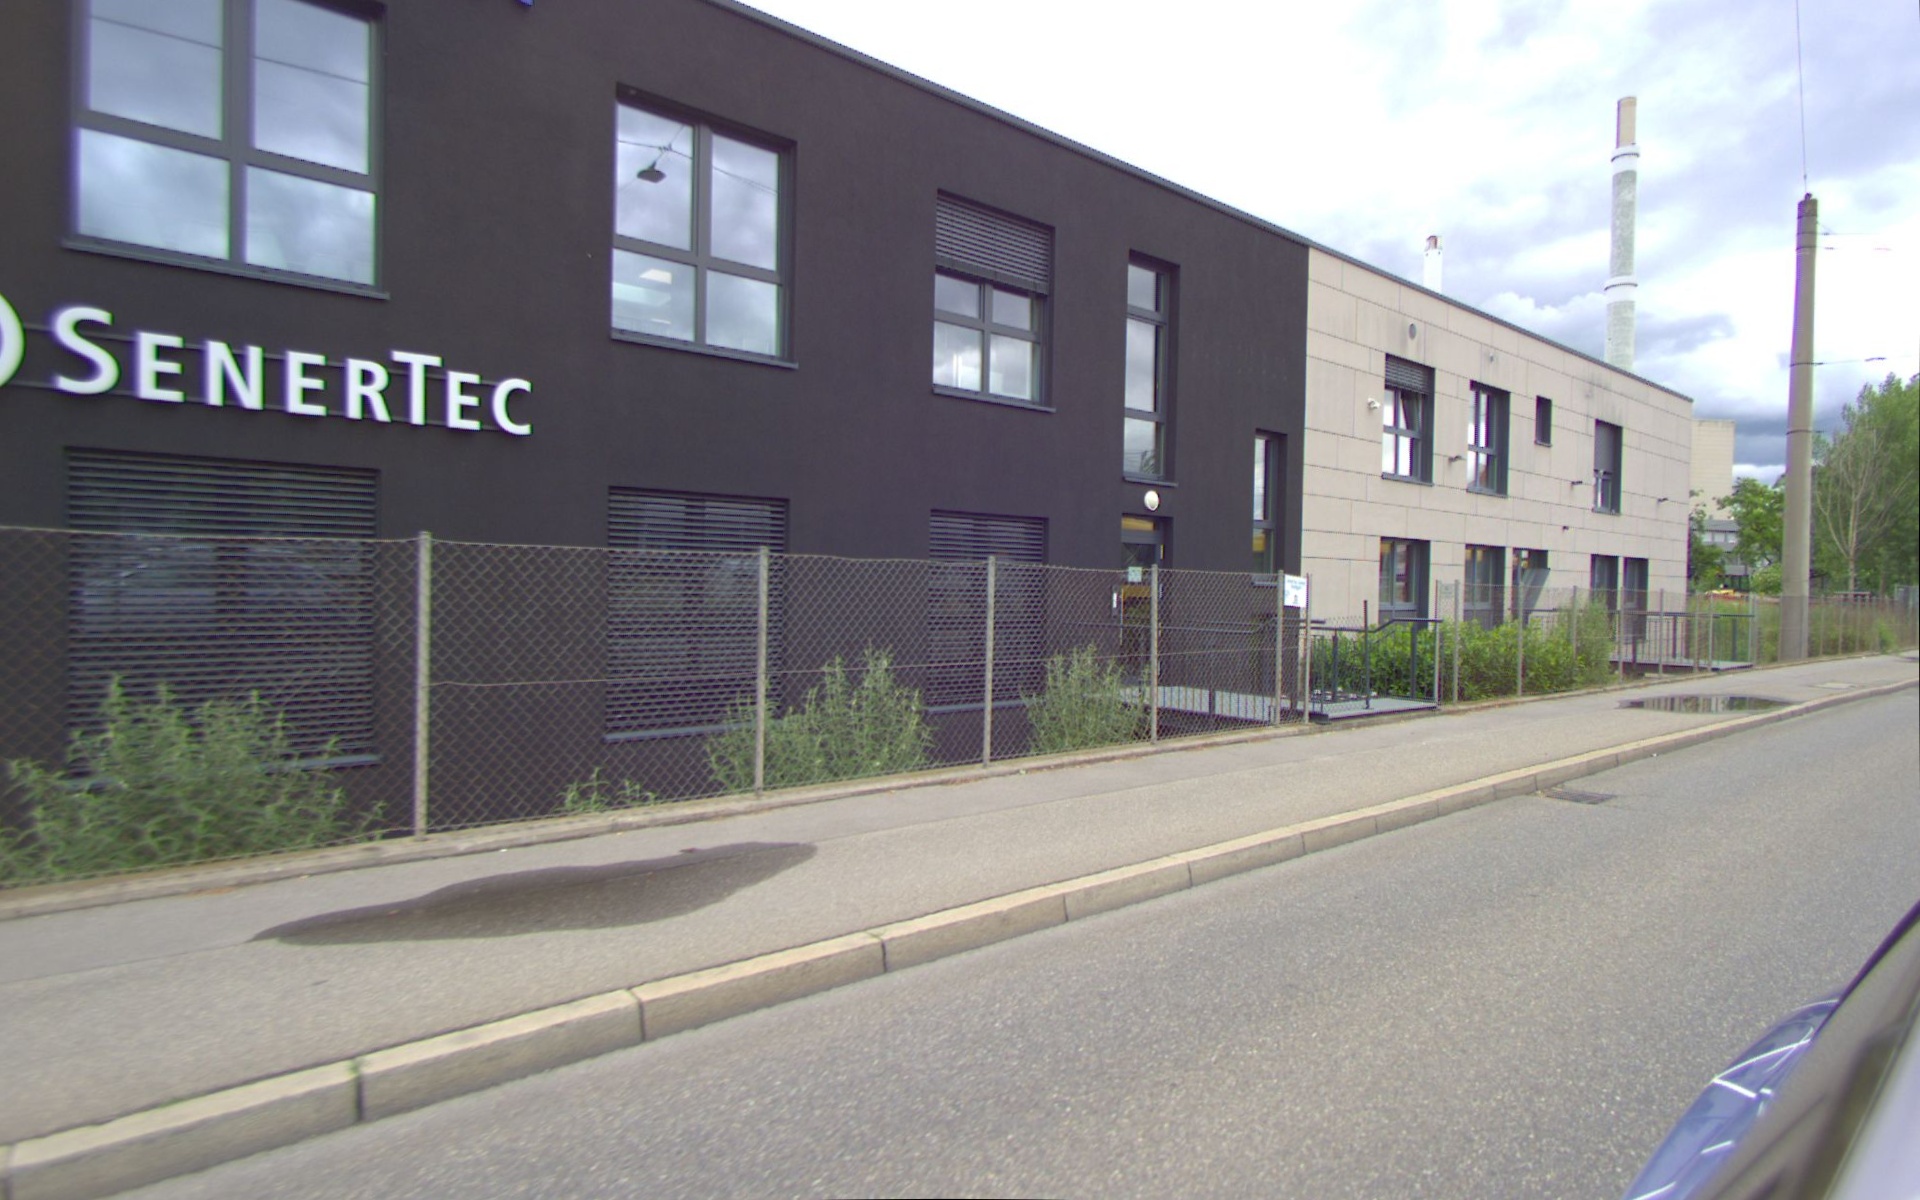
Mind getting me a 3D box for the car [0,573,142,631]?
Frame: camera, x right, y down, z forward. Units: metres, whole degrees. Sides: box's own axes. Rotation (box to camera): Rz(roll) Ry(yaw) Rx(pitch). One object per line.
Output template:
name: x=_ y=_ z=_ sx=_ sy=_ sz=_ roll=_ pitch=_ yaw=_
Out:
car: x=-27.317 y=0.027 z=30.157 sx=4.293 sy=1.604 sz=2.000 roll=1 pitch=1 yaw=0
